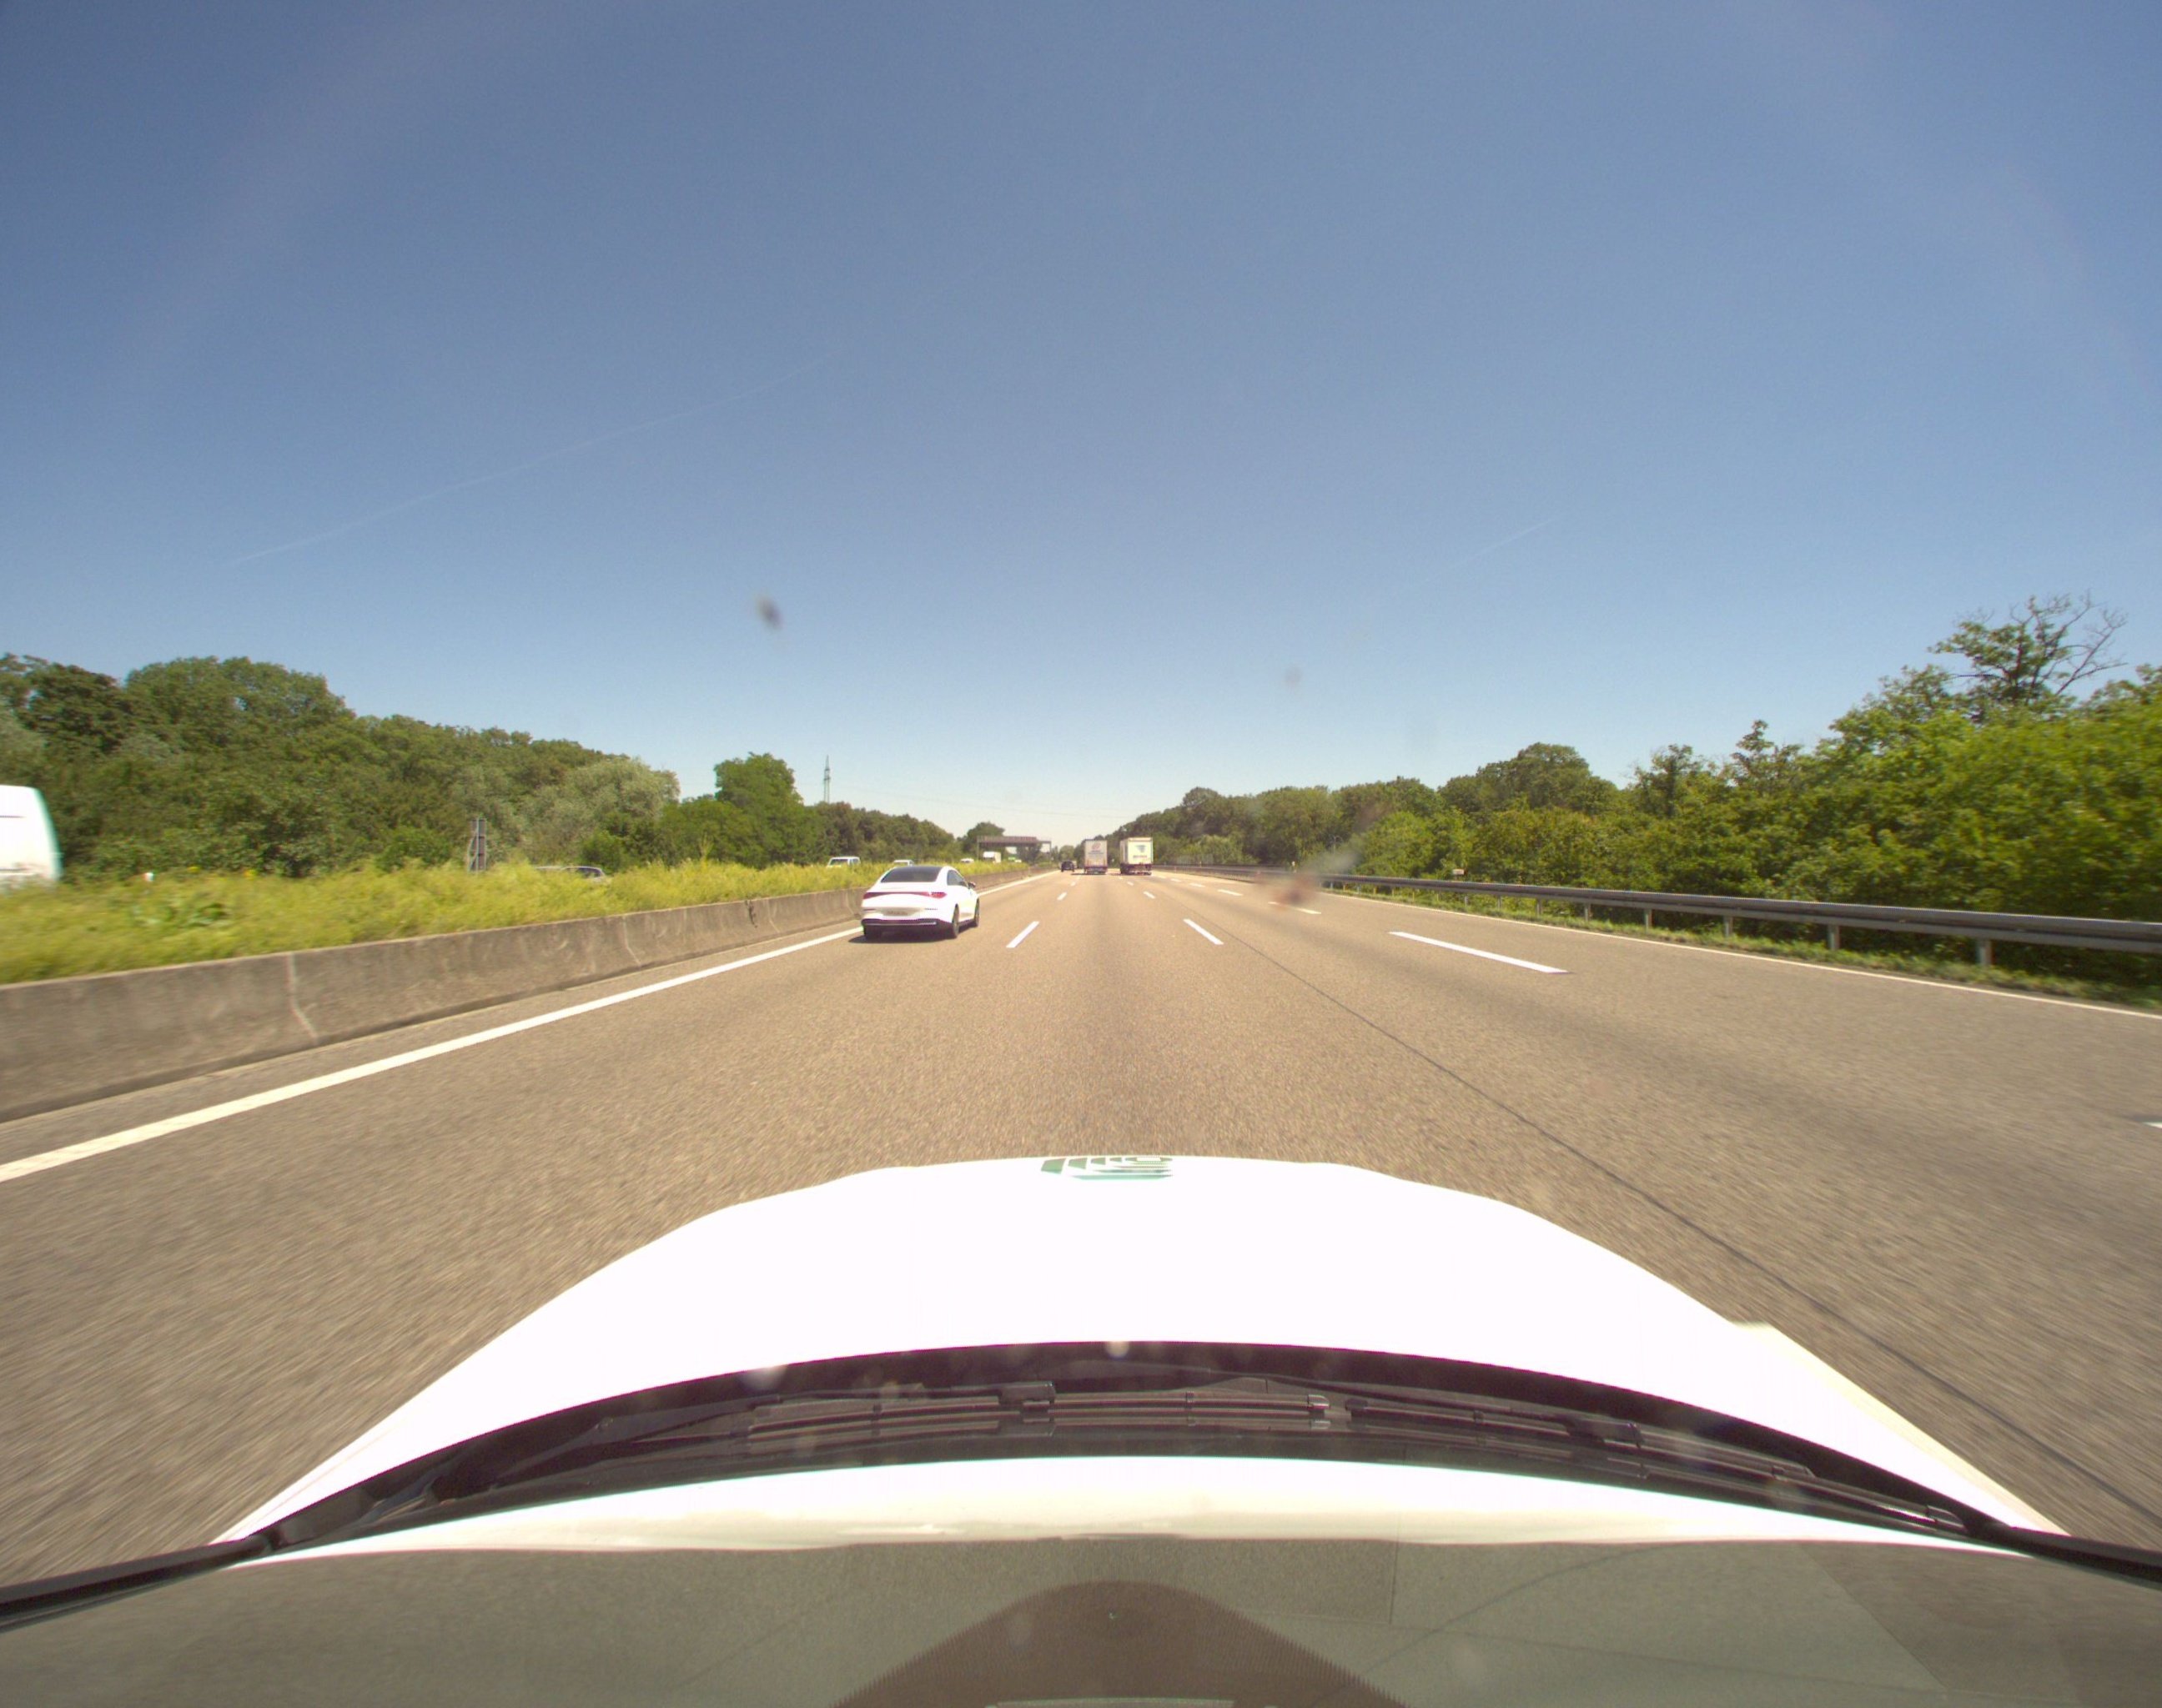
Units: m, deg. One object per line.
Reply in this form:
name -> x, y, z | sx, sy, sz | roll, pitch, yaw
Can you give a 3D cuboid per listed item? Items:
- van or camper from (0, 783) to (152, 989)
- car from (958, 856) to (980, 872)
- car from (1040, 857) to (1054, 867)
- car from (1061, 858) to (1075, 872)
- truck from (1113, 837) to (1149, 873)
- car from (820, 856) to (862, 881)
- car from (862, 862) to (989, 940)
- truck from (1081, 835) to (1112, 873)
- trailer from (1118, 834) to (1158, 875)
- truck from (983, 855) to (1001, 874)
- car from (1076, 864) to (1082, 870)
van or camper -> -13.778, 0.378, 7.609 | 2.241, 2.387, 6.764 | -1, 0, 3
car -> -15.120, 1.355, 110.287 | 2.117, 2.082, 4.971 | -1, 0, 1
car -> -6.692, 1.551, 161.064 | 2.284, 2.014, 4.712 | -1, 0, 1
car -> -1.908, 1.645, 122.544 | 1.989, 1.874, 3.996 | 0, 0, -3
truck -> 5.807, 0.081, 96.787 | 3.317, 4.053, 10.947 | 0, 0, -2
car -> -19.707, 1.183, 67.193 | 1.986, 2.014, 4.620 | -1, 0, 1
car -> -3.315, 0.936, 18.437 | 1.760, 1.448, 5.109 | -1, 0, 1
truck -> 1.682, -0.043, 92.970 | 3.220, 4.202, 8.463 | 0, 0, -1
trailer -> 6.001, -0.009, 87.185 | 3.358, 4.142, 9.087 | 0, 0, -1
truck -> -19.521, 2.217, 178.719 | 3.038, 3.977, 8.287 | 0, 0, 0
car -> -0.589, 4.194, 259.823 | 1.988, 1.596, 3.997 | 0, 1, -2
